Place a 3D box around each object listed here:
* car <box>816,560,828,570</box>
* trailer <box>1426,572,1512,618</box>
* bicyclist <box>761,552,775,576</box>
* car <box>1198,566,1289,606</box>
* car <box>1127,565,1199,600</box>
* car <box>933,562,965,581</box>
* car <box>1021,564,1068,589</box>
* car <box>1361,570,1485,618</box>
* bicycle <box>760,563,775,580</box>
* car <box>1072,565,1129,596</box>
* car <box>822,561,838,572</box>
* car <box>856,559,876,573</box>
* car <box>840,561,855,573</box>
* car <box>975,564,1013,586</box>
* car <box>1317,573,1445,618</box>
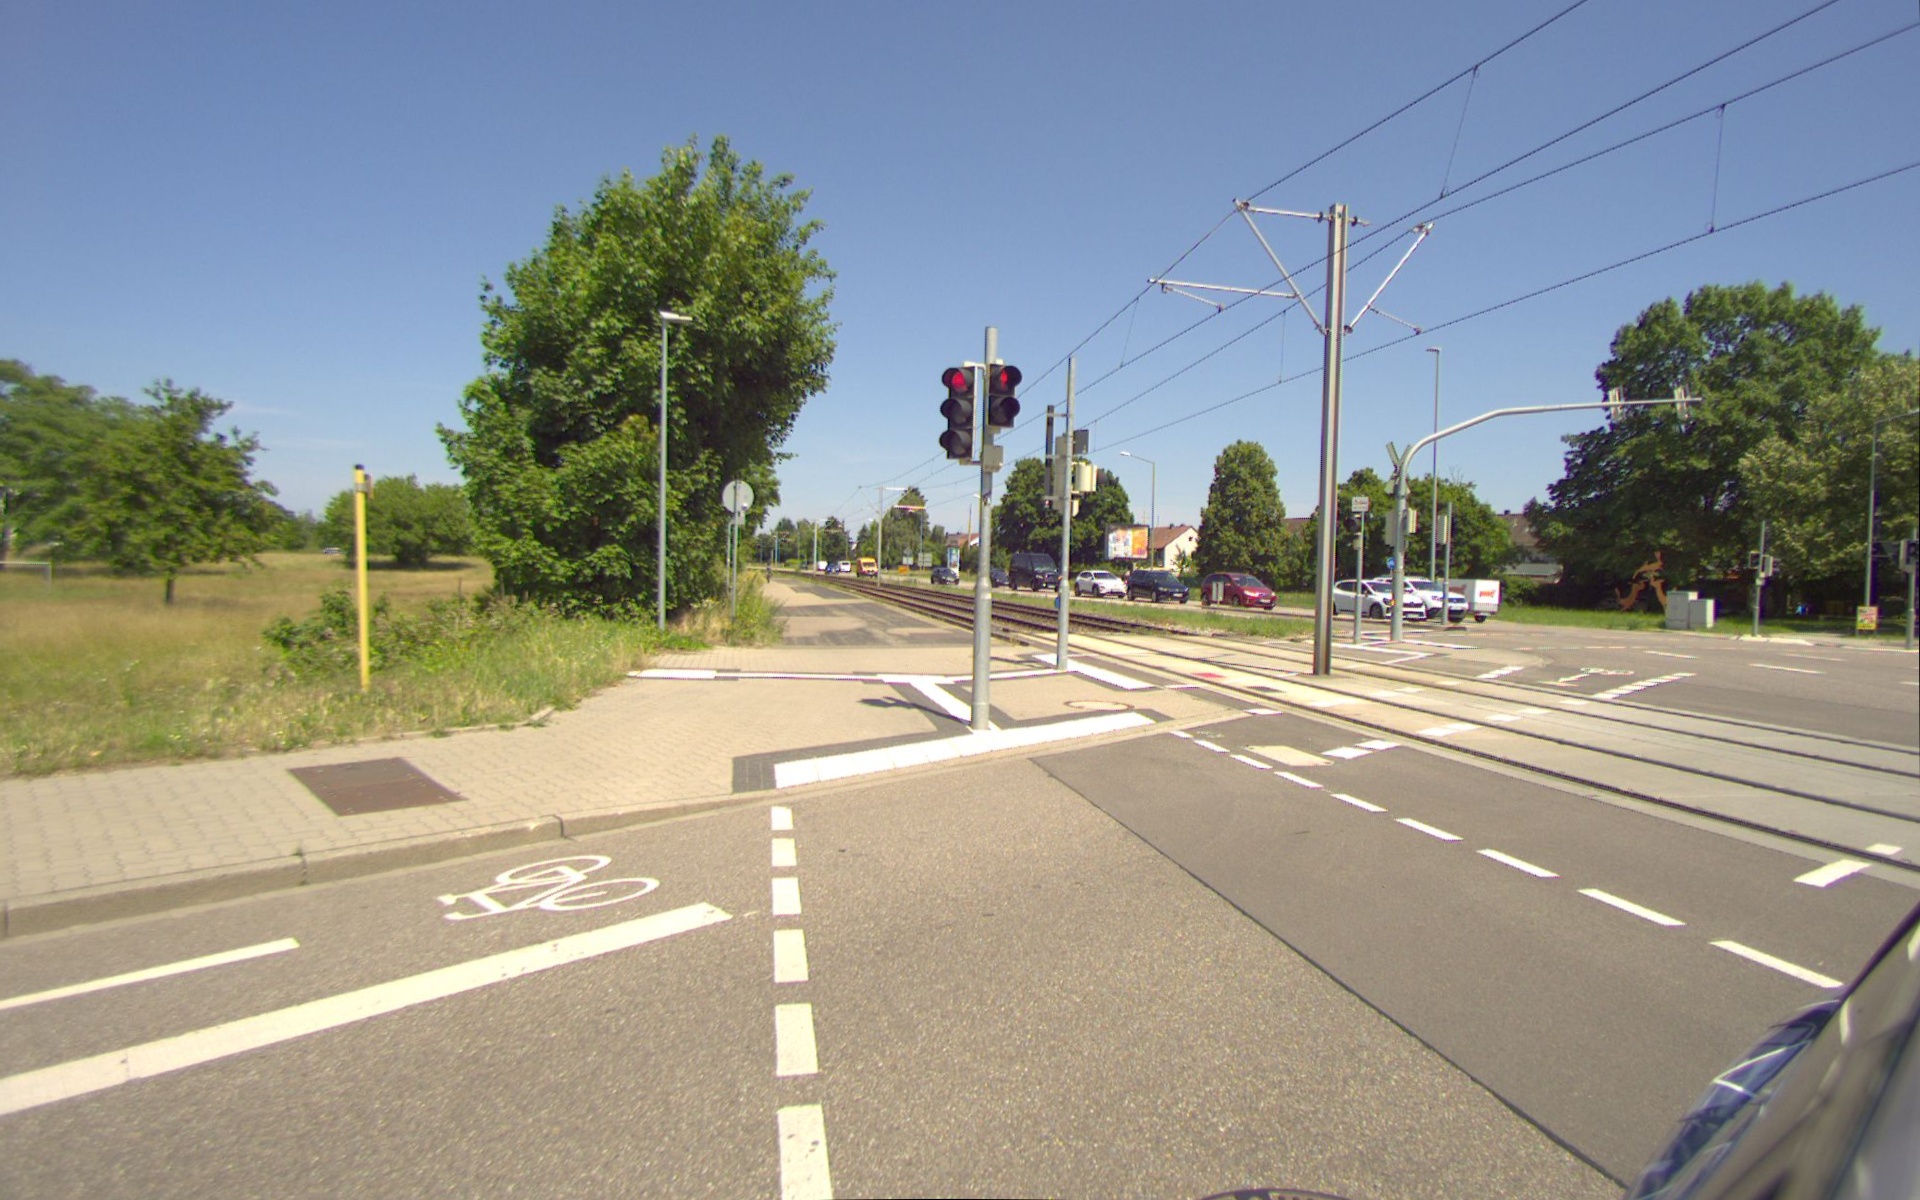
[{"bbox_3d":[-26.803,-6.863,196.395,1.736,1.777,4.010,4,1,-16],"label":"car"},{"bbox_3d":[20.302,-0.237,40.497,1.379,1.675,2.945,2,1,-15],"label":"trailer"},{"bbox_3d":[-16.568,-3.096,87.197,1.052,2.038,1.188,-2,2,-15],"label":"bicyclist"},{"bbox_3d":[12.444,-0.672,44.685,1.836,1.595,4.422,2,1,-14],"label":"car"},{"bbox_3d":[10.302,-0.922,51.772,1.836,1.595,4.422,2,1,-14],"label":"car"},{"bbox_3d":[-1.021,-2.580,90.701,1.836,1.595,4.422,2,1,-14],"label":"car"},{"bbox_3d":[5.702,-1.626,69.043,1.836,1.595,4.422,2,1,-14],"label":"car"},{"bbox_3d":[17.365,-0.260,38.187,1.836,1.595,4.422,2,1,-14],"label":"car"},{"bbox_3d":[-16.600,-2.454,87.333,1.041,1.362,2.702,-2,3,-15],"label":"bicycle"},{"bbox_3d":[8.093,-1.154,58.604,1.694,1.595,4.422,2,1,-14],"label":"car"},{"bbox_3d":[-20.562,-5.300,159.719,1.958,1.812,4.009,0,2,-16],"label":"car"},{"bbox_3d":[-11.755,-4.272,126.456,1.836,1.706,4.422,2,1,-14],"label":"car"},{"bbox_3d":[-19.102,-5.603,171.946,1.736,1.777,4.010,4,1,-16],"label":"car"},{"bbox_3d":[2.632,-2.028,79.695,1.836,1.595,4.422,2,1,-14],"label":"car"},{"bbox_3d":[14.780,-0.201,35.808,1.836,1.406,4.422,2,1,-14],"label":"car"}]
